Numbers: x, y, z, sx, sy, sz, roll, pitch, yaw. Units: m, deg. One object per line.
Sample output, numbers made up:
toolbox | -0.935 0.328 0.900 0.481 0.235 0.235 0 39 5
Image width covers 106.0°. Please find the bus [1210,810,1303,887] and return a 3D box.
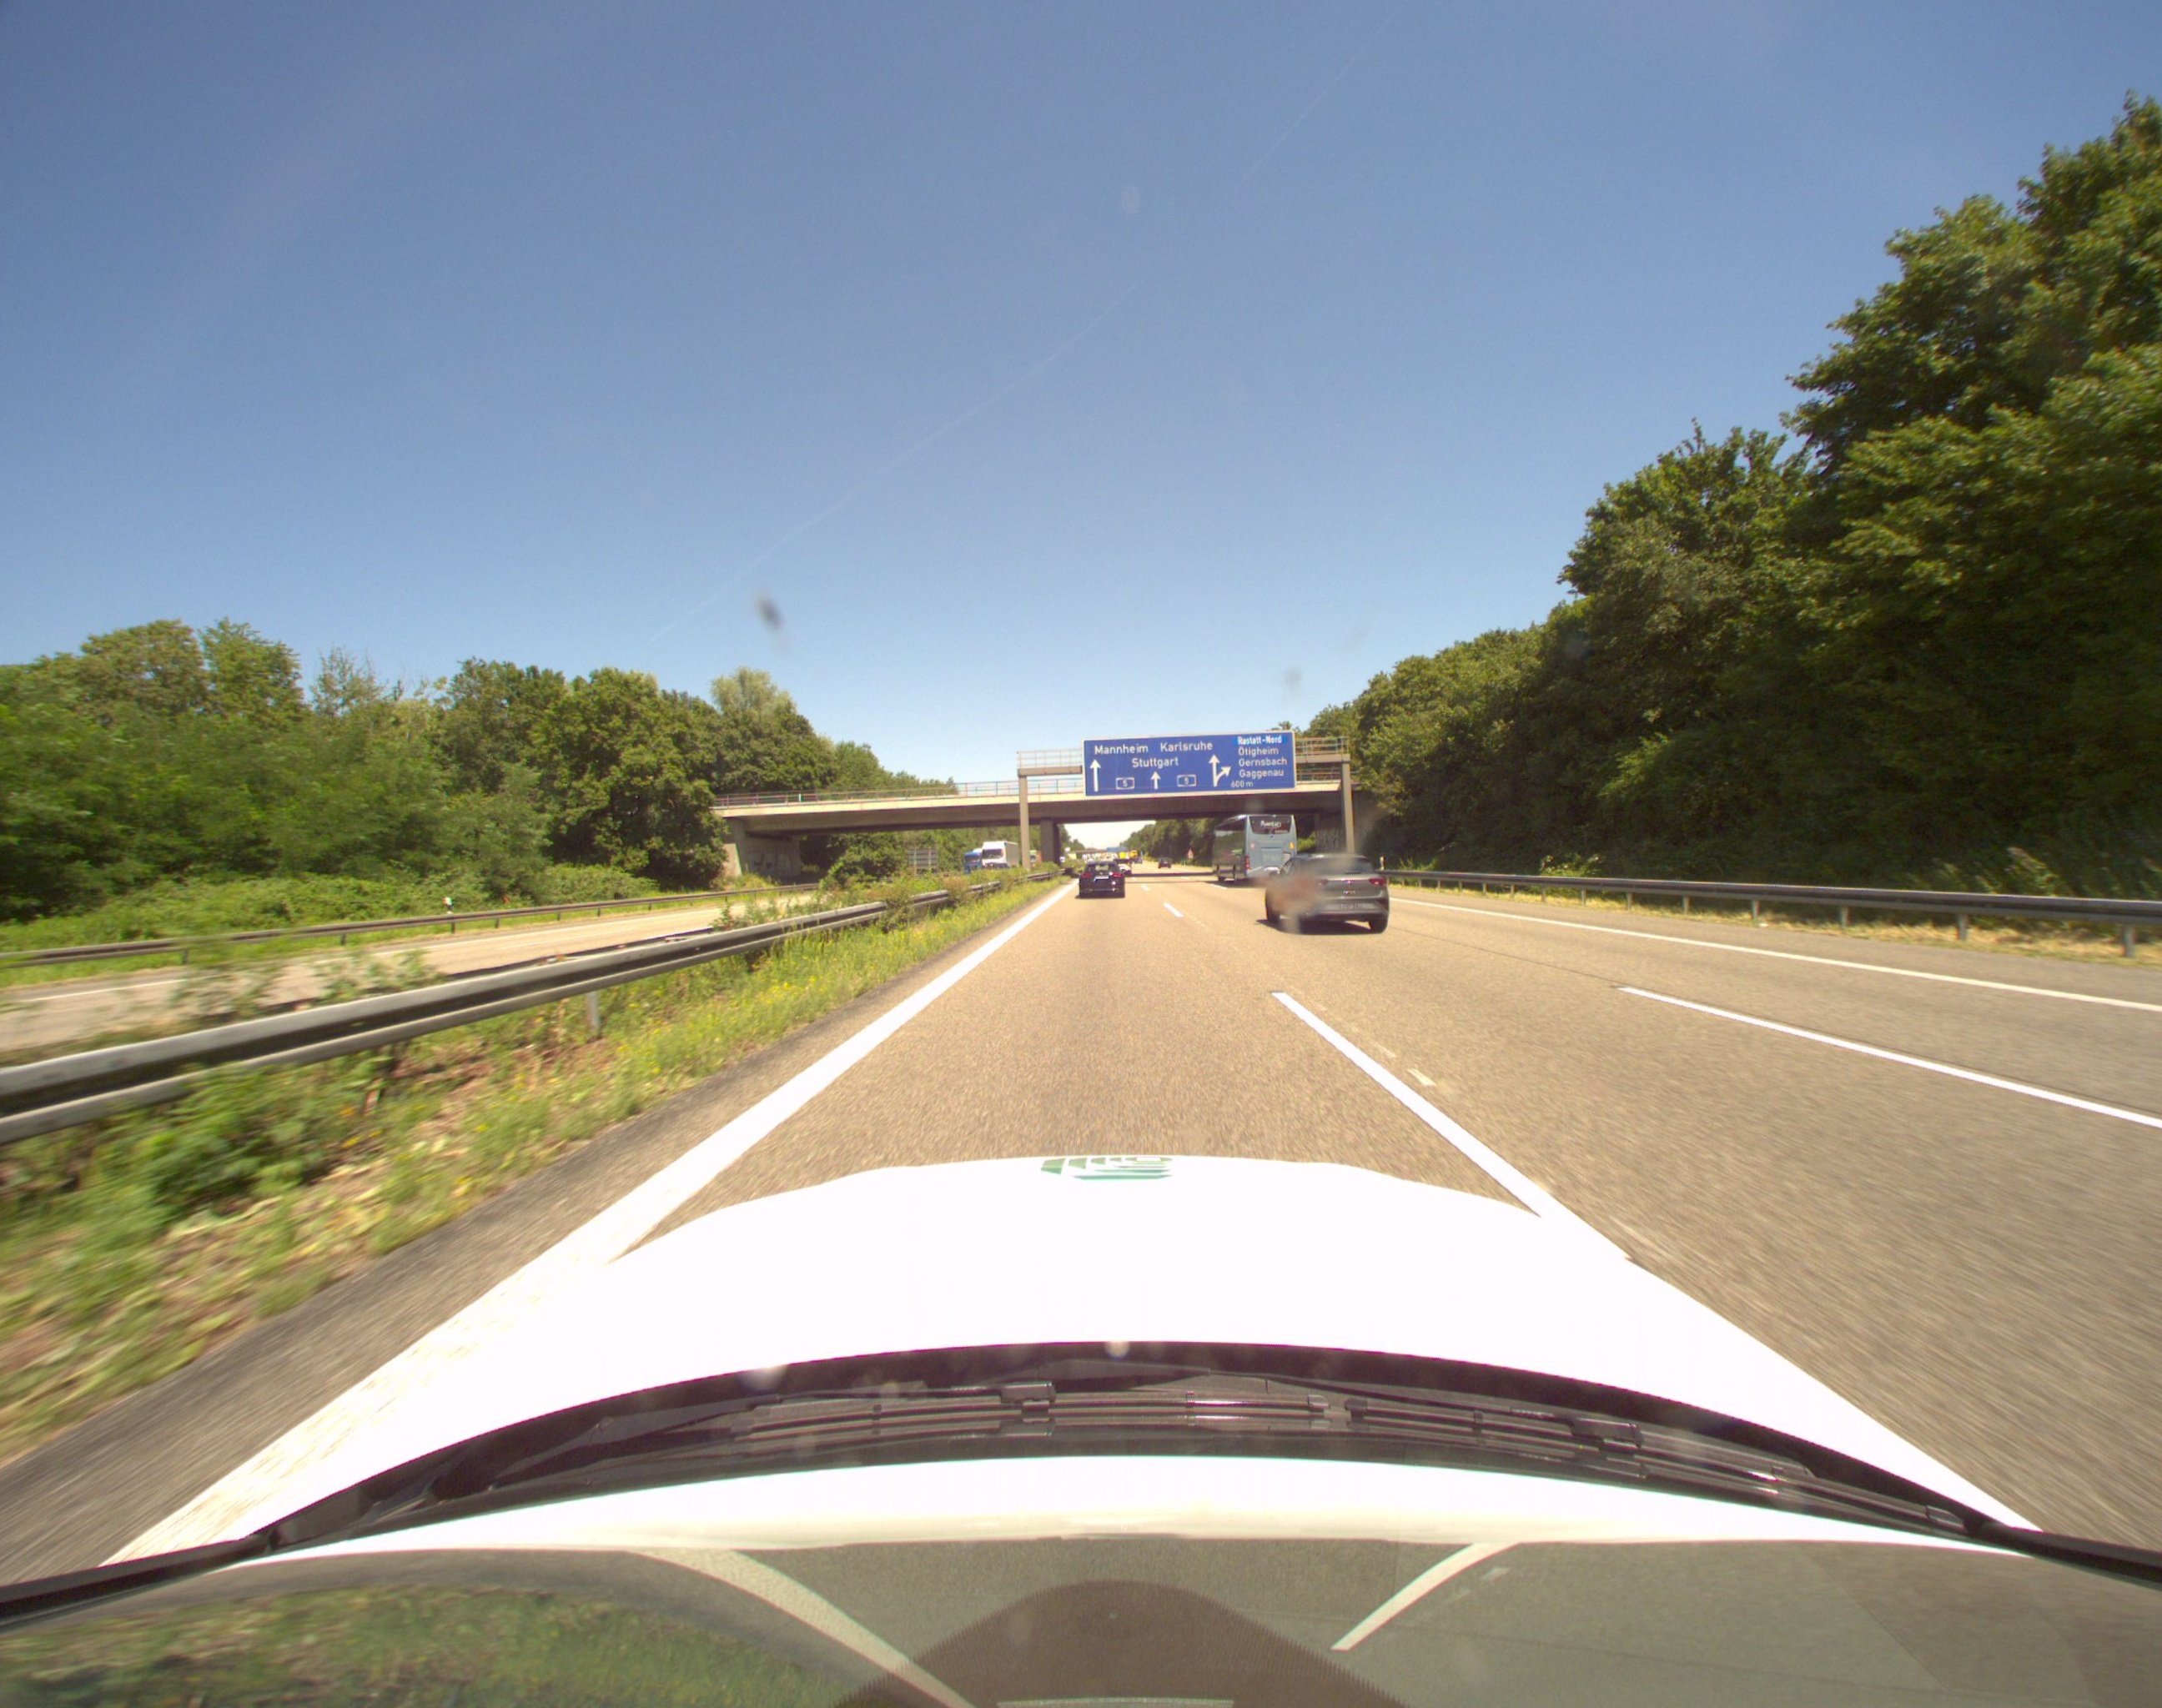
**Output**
bus | 9.235 -0.216 44.585 2.791 3.596 12.480 -1 0 2

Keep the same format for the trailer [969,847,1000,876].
trailer | -13.627 1.077 115.866 2.350 3.794 12.080 -4 0 2

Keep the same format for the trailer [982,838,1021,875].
trailer | -9.904 0.328 102.630 2.818 4.224 13.842 -4 0 2

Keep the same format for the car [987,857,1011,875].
car | -8.070 1.159 80.171 1.893 1.553 4.240 -3 0 0

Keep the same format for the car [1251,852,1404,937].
car | 5.038 0.759 17.388 1.892 1.532 4.760 -1 0 1

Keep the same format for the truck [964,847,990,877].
truck | -13.883 1.031 108.828 2.351 3.775 5.254 -4 0 2

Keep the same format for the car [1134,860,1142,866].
car | 14.178 2.221 202.551 2.072 1.532 4.244 -1 0 3

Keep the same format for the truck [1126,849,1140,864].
truck | 16.040 0.796 252.472 3.634 4.590 15.768 -1 -1 1

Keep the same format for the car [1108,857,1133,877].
car | 3.187 1.056 66.047 1.892 1.532 4.242 -1 0 1

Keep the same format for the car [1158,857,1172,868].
car | 12.011 1.171 116.320 1.782 1.461 3.952 -1 0 3

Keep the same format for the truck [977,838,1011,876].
truck | -10.151 0.336 95.524 2.818 4.211 5.891 -4 0 2

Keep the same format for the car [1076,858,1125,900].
car | 0.754 0.930 32.348 1.793 1.502 4.242 -1 0 1
